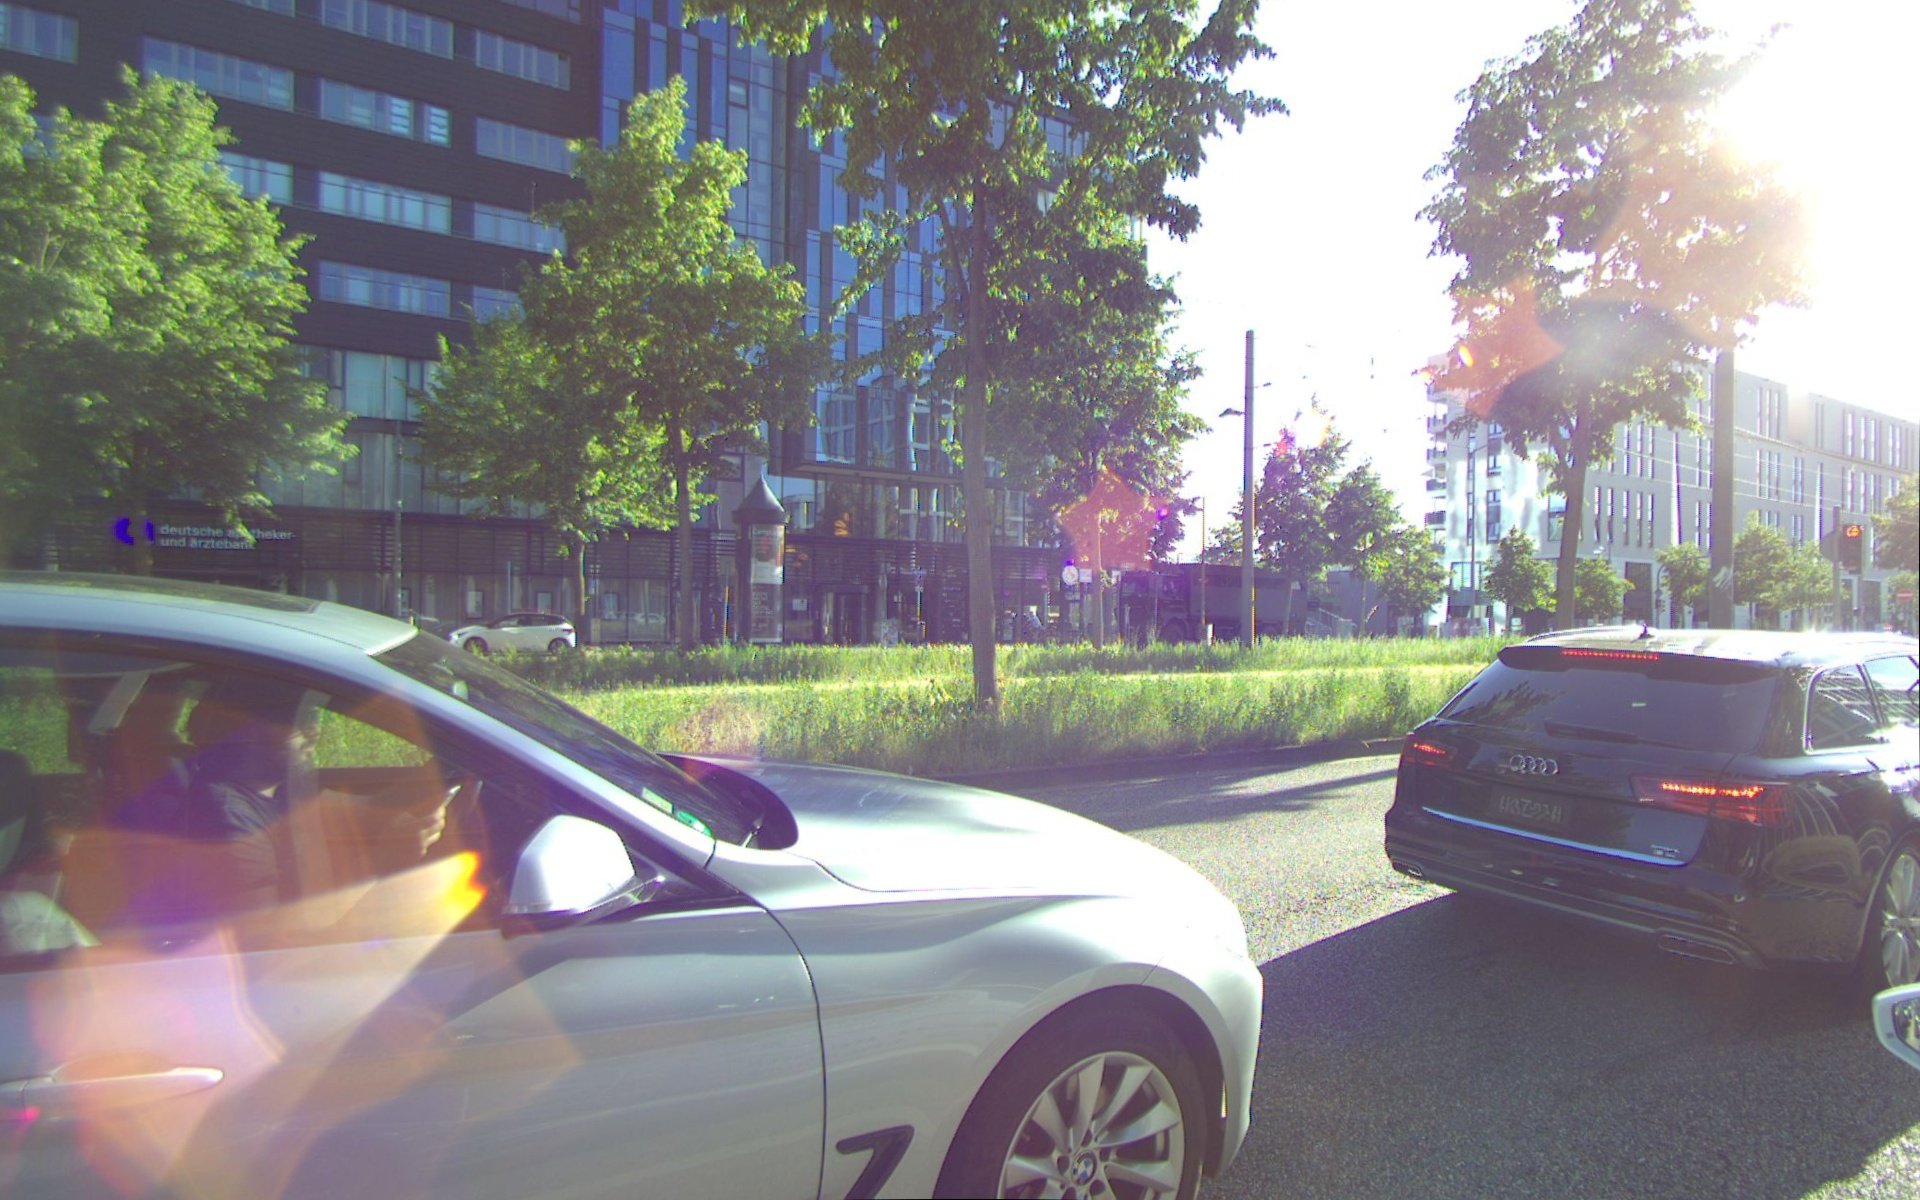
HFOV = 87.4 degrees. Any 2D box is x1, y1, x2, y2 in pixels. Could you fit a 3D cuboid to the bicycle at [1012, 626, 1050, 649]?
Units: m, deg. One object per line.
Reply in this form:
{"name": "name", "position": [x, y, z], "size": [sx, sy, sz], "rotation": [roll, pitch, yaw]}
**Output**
{"name": "bicycle", "position": [3.386, 1.791, 47.715], "size": [1.826, 1.047, 0.525], "rotation": [2, 0, -31]}

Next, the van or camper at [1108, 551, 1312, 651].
{"name": "van or camper", "position": [11.692, 0.182, 46.418], "size": [10.109, 4.248, 2.740], "rotation": [2, -1, -30]}

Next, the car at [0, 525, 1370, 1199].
{"name": "car", "position": [-1.491, 0.675, 1.922], "size": [4.689, 1.508, 1.799], "rotation": [1, -1, -31]}

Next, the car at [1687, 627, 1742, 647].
{"name": "car", "position": [52.778, 2.584, 70.255], "size": [4.420, 1.360, 1.572], "rotation": [2, -1, -31]}

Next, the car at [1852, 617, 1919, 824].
{"name": "car", "position": [9.221, 0.945, 8.126], "size": [4.063, 1.548, 1.800], "rotation": [1, -1, -30]}

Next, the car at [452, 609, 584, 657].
{"name": "car", "position": [-14.957, 1.116, 34.051], "size": [3.952, 1.525, 1.745], "rotation": [1, -1, -29]}

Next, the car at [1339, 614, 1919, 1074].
{"name": "car", "position": [4.188, 0.848, 5.190], "size": [4.455, 1.476, 1.799], "rotation": [1, -1, -31]}

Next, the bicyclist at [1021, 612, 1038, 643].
{"name": "bicyclist", "position": [3.298, 1.296, 47.663], "size": [0.619, 1.425, 0.490], "rotation": [2, 0, -30]}
